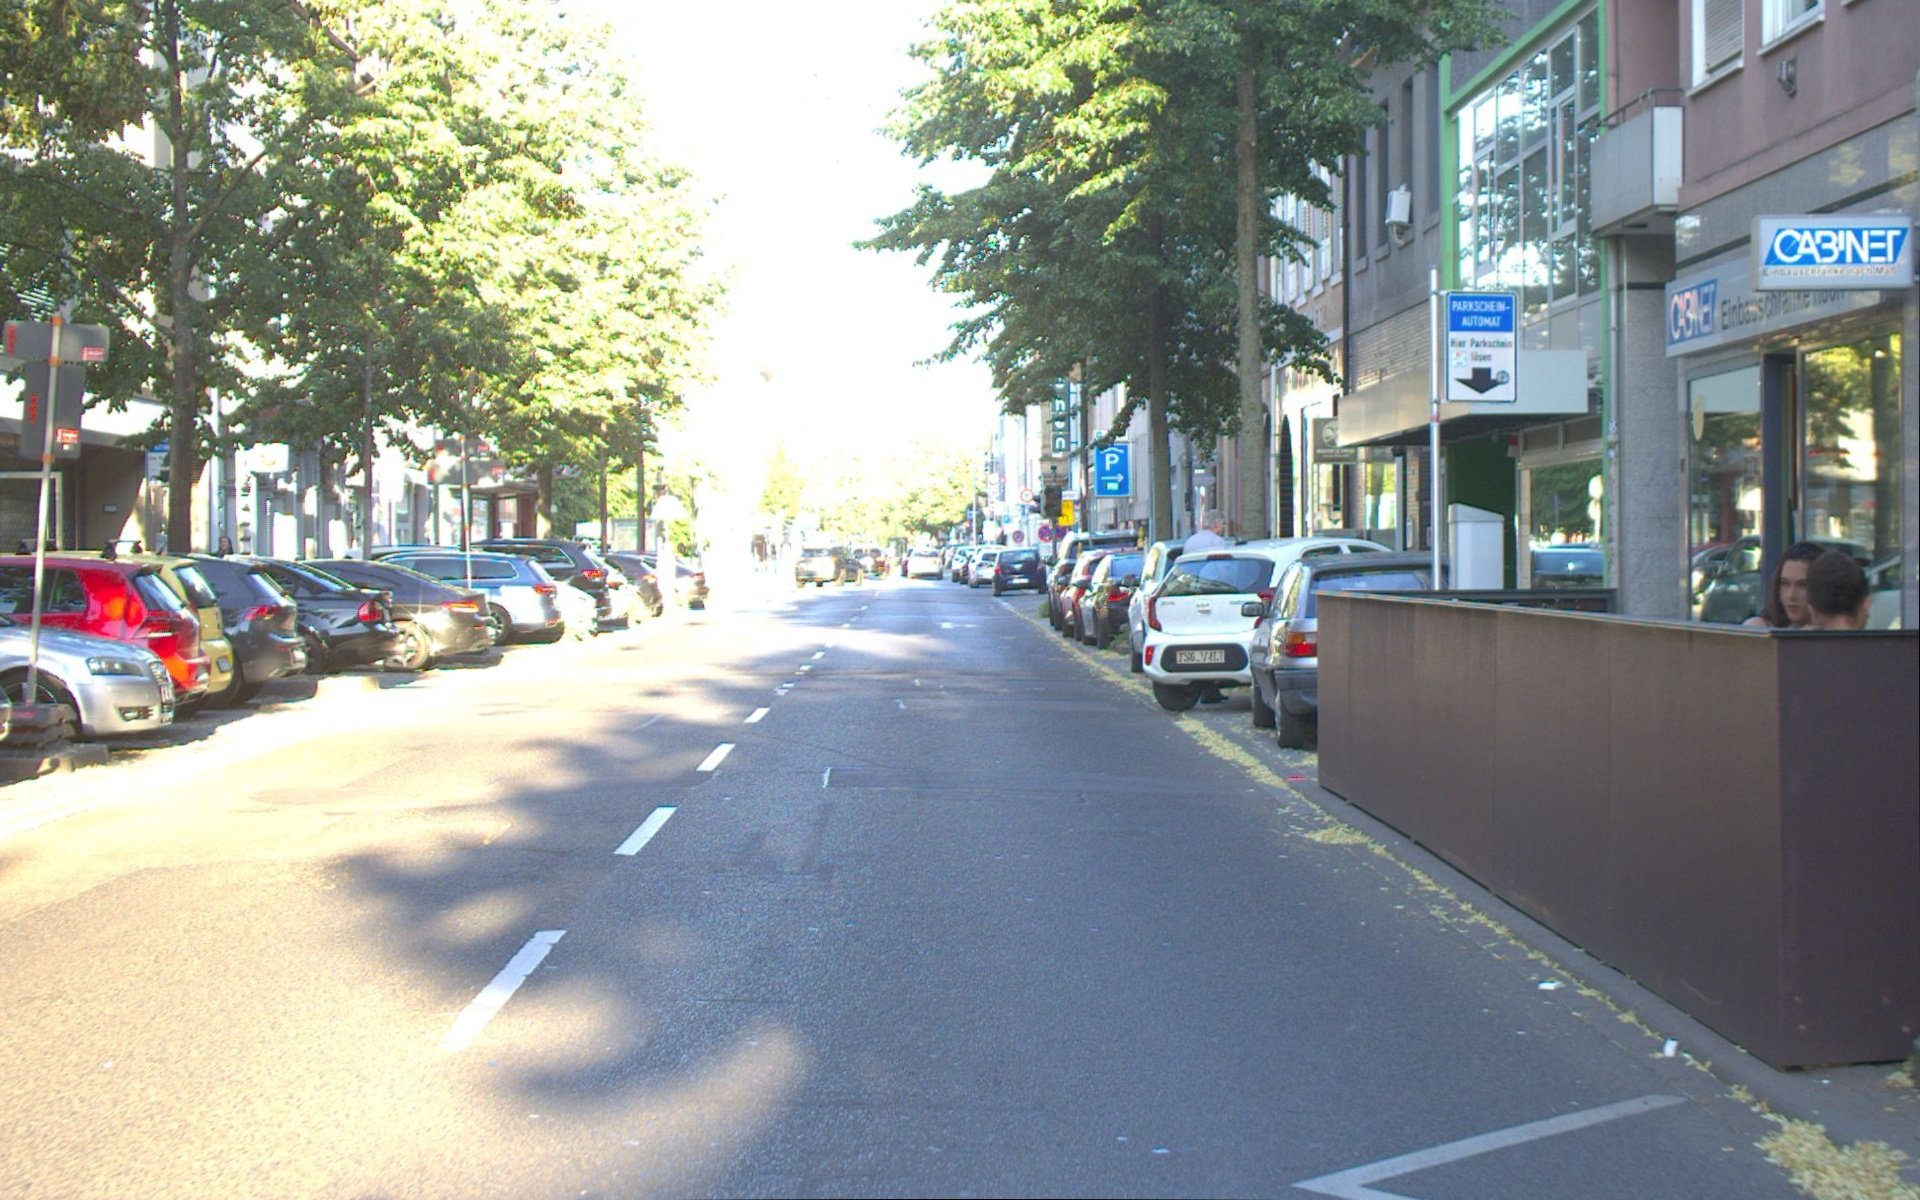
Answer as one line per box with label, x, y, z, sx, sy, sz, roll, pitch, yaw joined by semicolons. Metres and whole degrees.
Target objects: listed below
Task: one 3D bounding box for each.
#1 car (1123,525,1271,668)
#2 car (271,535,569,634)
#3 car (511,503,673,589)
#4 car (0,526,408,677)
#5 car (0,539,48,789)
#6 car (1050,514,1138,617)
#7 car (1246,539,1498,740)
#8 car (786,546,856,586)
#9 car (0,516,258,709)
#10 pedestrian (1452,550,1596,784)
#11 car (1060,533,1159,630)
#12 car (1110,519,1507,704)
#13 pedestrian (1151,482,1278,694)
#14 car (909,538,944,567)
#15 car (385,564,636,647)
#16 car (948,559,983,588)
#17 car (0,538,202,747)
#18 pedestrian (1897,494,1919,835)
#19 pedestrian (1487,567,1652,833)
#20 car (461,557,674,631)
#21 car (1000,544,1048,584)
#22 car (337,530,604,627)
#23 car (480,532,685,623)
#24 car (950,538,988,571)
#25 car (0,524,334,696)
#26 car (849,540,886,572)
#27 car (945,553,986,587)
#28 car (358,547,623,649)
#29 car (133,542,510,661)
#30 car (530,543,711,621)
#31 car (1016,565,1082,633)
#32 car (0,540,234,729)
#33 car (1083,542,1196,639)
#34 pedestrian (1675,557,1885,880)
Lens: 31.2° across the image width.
car;2.696;-0.052;39.625;1.513;1.572;3.218;0;1;1
car;-8.569;-0.255;54.785;4.442;1.518;1.919;1;1;0
car;-10.545;-1.538;98.657;4.442;2.426;1.919;0;1;0
car;-8.373;0.002;37.327;4.442;1.562;1.919;1;1;0
car;-7.982;0.363;20.776;4.442;1.501;1.845;1;1;0
car;2.454;-0.637;63.848;1.513;1.858;4.235;0;0;1
car;3.085;0.255;26.295;1.543;1.428;3.678;0;1;1
car;-5.449;-1.329;135.105;1.928;1.566;3.301;0;0;14
car;-8.616;0.084;30.382;4.442;1.633;1.859;1;1;0
pedestrian;3.372;0.389;20.600;0.726;1.374;0.781;0;1;0
car;2.451;-0.310;56.943;1.513;1.556;3.514;0;1;0
car;3.243;0.074;31.531;1.674;1.583;3.814;1;1;42
pedestrian;2.355;-0.119;31.917;0.916;1.919;1.018;1;1;-10
car;-1.702;-2.451;177.284;1.721;1.470;3.304;-1;0;1
car;-8.384;0.090;64.347;4.442;1.494;1.919;1;1;0
car;0.257;-1.166;152.061;1.513;1.294;3.304;0;0;1
car;-8.010;0.278;25.323;4.442;1.479;1.809;1;1;0
pedestrian;4.990;0.299;16.690;0.797;1.620;0.911;0;1;12
pedestrian;3.218;0.515;18.197;0.726;1.374;0.781;0;1;0
car;-8.591;-0.135;75.438;4.442;1.573;1.919;1;1;0
car;2.054;-1.162;111.073;1.513;1.271;3.304;0;0;1
car;-8.375;-0.372;59.120;4.304;1.592;1.919;1;1;0
car;-8.569;-0.516;78.258;4.442;2.008;1.919;1;1;0
car;0.450;-2.143;163.095;1.752;1.535;3.304;-1;0;1
car;-8.352;0.073;32.698;4.442;1.562;1.919;1;1;0
car;-4.598;-2.176;171.412;1.752;1.535;3.304;-1;0;1
car;0.204;-1.114;129.262;1.513;1.259;3.304;0;0;1
car;-8.326;-0.047;61.225;4.442;1.753;1.919;1;1;0
car;-8.092;0.010;43.850;4.442;1.444;1.919;1;1;0
car;-8.708;-0.473;88.450;4.442;1.953;1.919;0;1;0
car;2.104;-0.040;81.717;1.513;1.556;3.773;0;0;1
car;-8.257;0.245;27.628;4.442;1.453;1.859;1;1;0
car;2.674;-0.155;51.855;1.513;1.401;3.837;0;1;0
pedestrian;3.577;0.499;15.048;0.726;1.374;0.781;0;1;0
